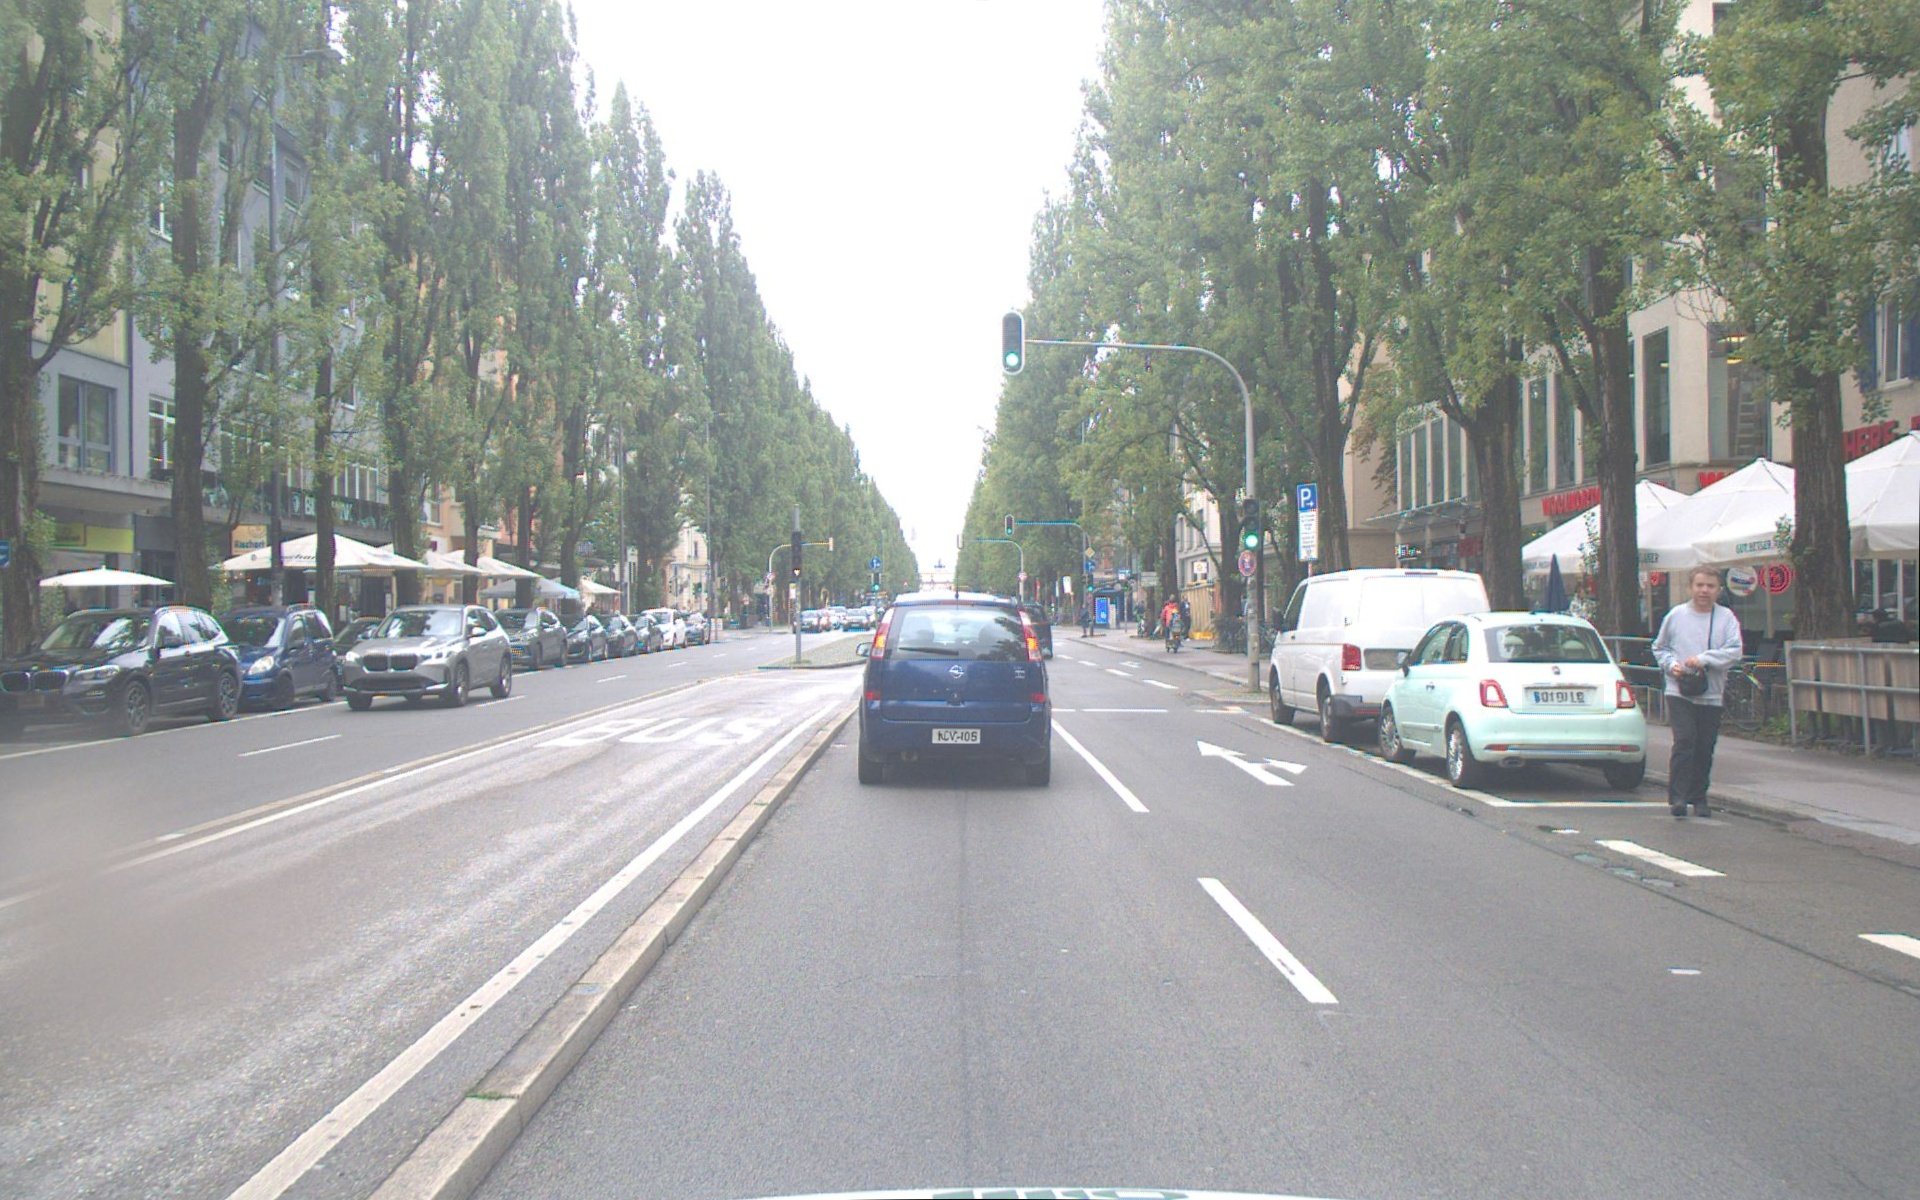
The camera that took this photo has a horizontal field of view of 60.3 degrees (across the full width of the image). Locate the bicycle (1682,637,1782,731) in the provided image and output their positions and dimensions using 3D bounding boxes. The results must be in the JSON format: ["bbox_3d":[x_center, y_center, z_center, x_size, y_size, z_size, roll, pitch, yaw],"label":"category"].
[{"bbox_3d":[8.889,0.946,19.089,0.342,1.013,1.453,-2,-1,-4],"label":"bicycle"}]

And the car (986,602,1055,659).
[{"bbox_3d":[1.769,0.877,49.314,1.858,1.650,3.999,0,0,-1],"label":"car"}]

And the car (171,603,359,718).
[{"bbox_3d":[-11.703,0.958,28.118,1.675,1.751,3.919,-2,0,-4],"label":"car"}]

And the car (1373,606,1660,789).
[{"bbox_3d":[5.065,0.820,15.503,1.509,1.518,3.523,0,0,0],"label":"car"}]

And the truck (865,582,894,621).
[{"bbox_3d":[-7.315,0.142,150.476,2.334,3.405,7.109,-1,0,-1],"label":"truck"}]

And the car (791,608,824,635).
[{"bbox_3d":[-9.894,1.400,107.687,1.828,1.695,4.119,-1,0,-1],"label":"car"}]

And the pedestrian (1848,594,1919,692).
[{"bbox_3d":[13.135,0.600,23.466,0.625,1.347,0.800,-1,0,-1],"label":"pedestrian"}]

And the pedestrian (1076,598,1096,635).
[{"bbox_3d":[6.312,0.820,82.822,0.865,1.797,0.769,-1,0,-4],"label":"pedestrian"}]

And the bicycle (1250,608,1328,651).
[{"bbox_3d":[9.733,0.869,48.975,2.182,1.225,0.626,-1,0,-3],"label":"bicycle"}]

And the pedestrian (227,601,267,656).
[{"bbox_3d":[-19.002,0.763,44.093,0.750,1.434,0.799,1,-1,-6],"label":"pedestrian"}]

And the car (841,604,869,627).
[{"bbox_3d":[-7.020,1.021,110.707,1.699,1.491,3.364,-1,0,-1],"label":"car"}]

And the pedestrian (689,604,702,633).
[{"bbox_3d":[-16.707,1.150,104.460,0.754,1.797,0.882,-1,0,-14],"label":"pedestrian"}]

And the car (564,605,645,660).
[{"bbox_3d":[-11.957,1.064,55.861,1.828,1.695,4.119,-2,0,-1],"label":"car"}]

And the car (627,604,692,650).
[{"bbox_3d":[-12.069,1.062,66.647,1.828,1.695,4.119,-2,0,-1],"label":"car"}]

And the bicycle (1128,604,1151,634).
[{"bbox_3d":[8.359,0.876,77.149,0.757,1.372,2.449,-1,0,-1],"label":"bicycle"}]

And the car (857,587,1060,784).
[{"bbox_3d":[-0.029,0.695,15.416,1.637,1.596,3.999,0,0,-1],"label":"car"}]

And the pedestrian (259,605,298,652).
[{"bbox_3d":[-21.044,0.874,51.099,0.780,1.434,0.768,1,-1,11],"label":"pedestrian"}]

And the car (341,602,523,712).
[{"bbox_3d":[-8.817,0.896,28.001,1.735,1.663,4.454,-2,0,-2],"label":"car"}]

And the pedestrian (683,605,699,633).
[{"bbox_3d":[-17.313,1.225,106.381,0.757,1.797,0.878,0,0,-25],"label":"pedestrian"}]

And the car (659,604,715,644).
[{"bbox_3d":[-12.165,1.044,73.921,1.828,1.695,4.119,-2,0,-1],"label":"car"}]

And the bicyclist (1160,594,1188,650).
[{"bbox_3d":[6.957,0.699,53.741,0.752,1.797,0.885,-1,0,-1],"label":"bicyclist"}]

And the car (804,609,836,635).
[{"bbox_3d":[-9.496,1.494,112.224,1.828,1.695,4.119,-1,0,-1],"label":"car"}]

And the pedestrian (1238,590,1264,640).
[{"bbox_3d":[10.907,0.551,62.026,0.706,1.859,0.885,1,-1,-11],"label":"pedestrian"}]

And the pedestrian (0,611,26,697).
[{"bbox_3d":[-19.570,1.102,33.626,0.740,1.715,0.675,-1,-1,1],"label":"pedestrian"}]

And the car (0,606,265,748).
[{"bbox_3d":[-11.473,0.971,22.801,1.828,1.693,4.610,-2,0,-1],"label":"car"}]

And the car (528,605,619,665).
[{"bbox_3d":[-11.809,1.036,50.784,1.828,1.695,4.119,-2,0,-1],"label":"car"}]

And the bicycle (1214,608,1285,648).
[{"bbox_3d":[9.360,0.905,53.489,2.182,1.225,0.626,-1,0,-3],"label":"bicycle"}]

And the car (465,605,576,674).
[{"bbox_3d":[-11.802,1.011,44.691,1.828,1.695,4.400,-2,0,-1],"label":"car"}]

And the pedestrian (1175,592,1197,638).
[{"bbox_3d":[9.163,0.602,67.021,0.625,1.859,0.885,1,-1,-11],"label":"pedestrian"}]

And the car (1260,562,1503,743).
[{"bbox_3d":[5.058,0.575,20.527,1.751,1.980,4.729,0,0,-1],"label":"car"}]

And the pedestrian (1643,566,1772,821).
[{"bbox_3d":[5.564,0.663,12.293,0.811,1.804,0.869,-1,0,27],"label":"pedestrian"}]

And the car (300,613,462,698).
[{"bbox_3d":[-11.630,1.062,33.525,1.762,1.515,4.349,-2,0,-1],"label":"car"}]

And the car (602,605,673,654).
[{"bbox_3d":[-11.930,1.056,61.388,1.828,1.695,4.119,-2,0,-1],"label":"car"}]

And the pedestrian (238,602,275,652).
[{"bbox_3d":[-20.432,0.794,48.044,0.750,1.434,0.799,1,-1,-6],"label":"pedestrian"}]

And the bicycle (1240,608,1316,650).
[{"bbox_3d":[9.724,0.887,50.582,2.182,1.225,0.626,-1,0,-3],"label":"bicycle"}]

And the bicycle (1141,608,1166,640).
[{"bbox_3d":[8.442,1.025,72.171,0.757,1.372,2.449,-1,0,-1],"label":"bicycle"}]

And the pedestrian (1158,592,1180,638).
[{"bbox_3d":[8.439,0.613,66.723,0.625,1.859,0.885,1,-1,-11],"label":"pedestrian"}]

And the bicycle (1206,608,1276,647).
[{"bbox_3d":[9.317,0.915,54.867,2.182,1.225,0.626,-1,0,-3],"label":"bicycle"}]

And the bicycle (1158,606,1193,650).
[{"bbox_3d":[6.962,0.902,53.617,0.757,1.372,2.449,-1,0,-1],"label":"bicycle"}]

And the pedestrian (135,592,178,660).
[{"bbox_3d":[-20.733,0.673,42.689,0.740,1.715,0.675,-1,-1,0],"label":"pedestrian"}]
